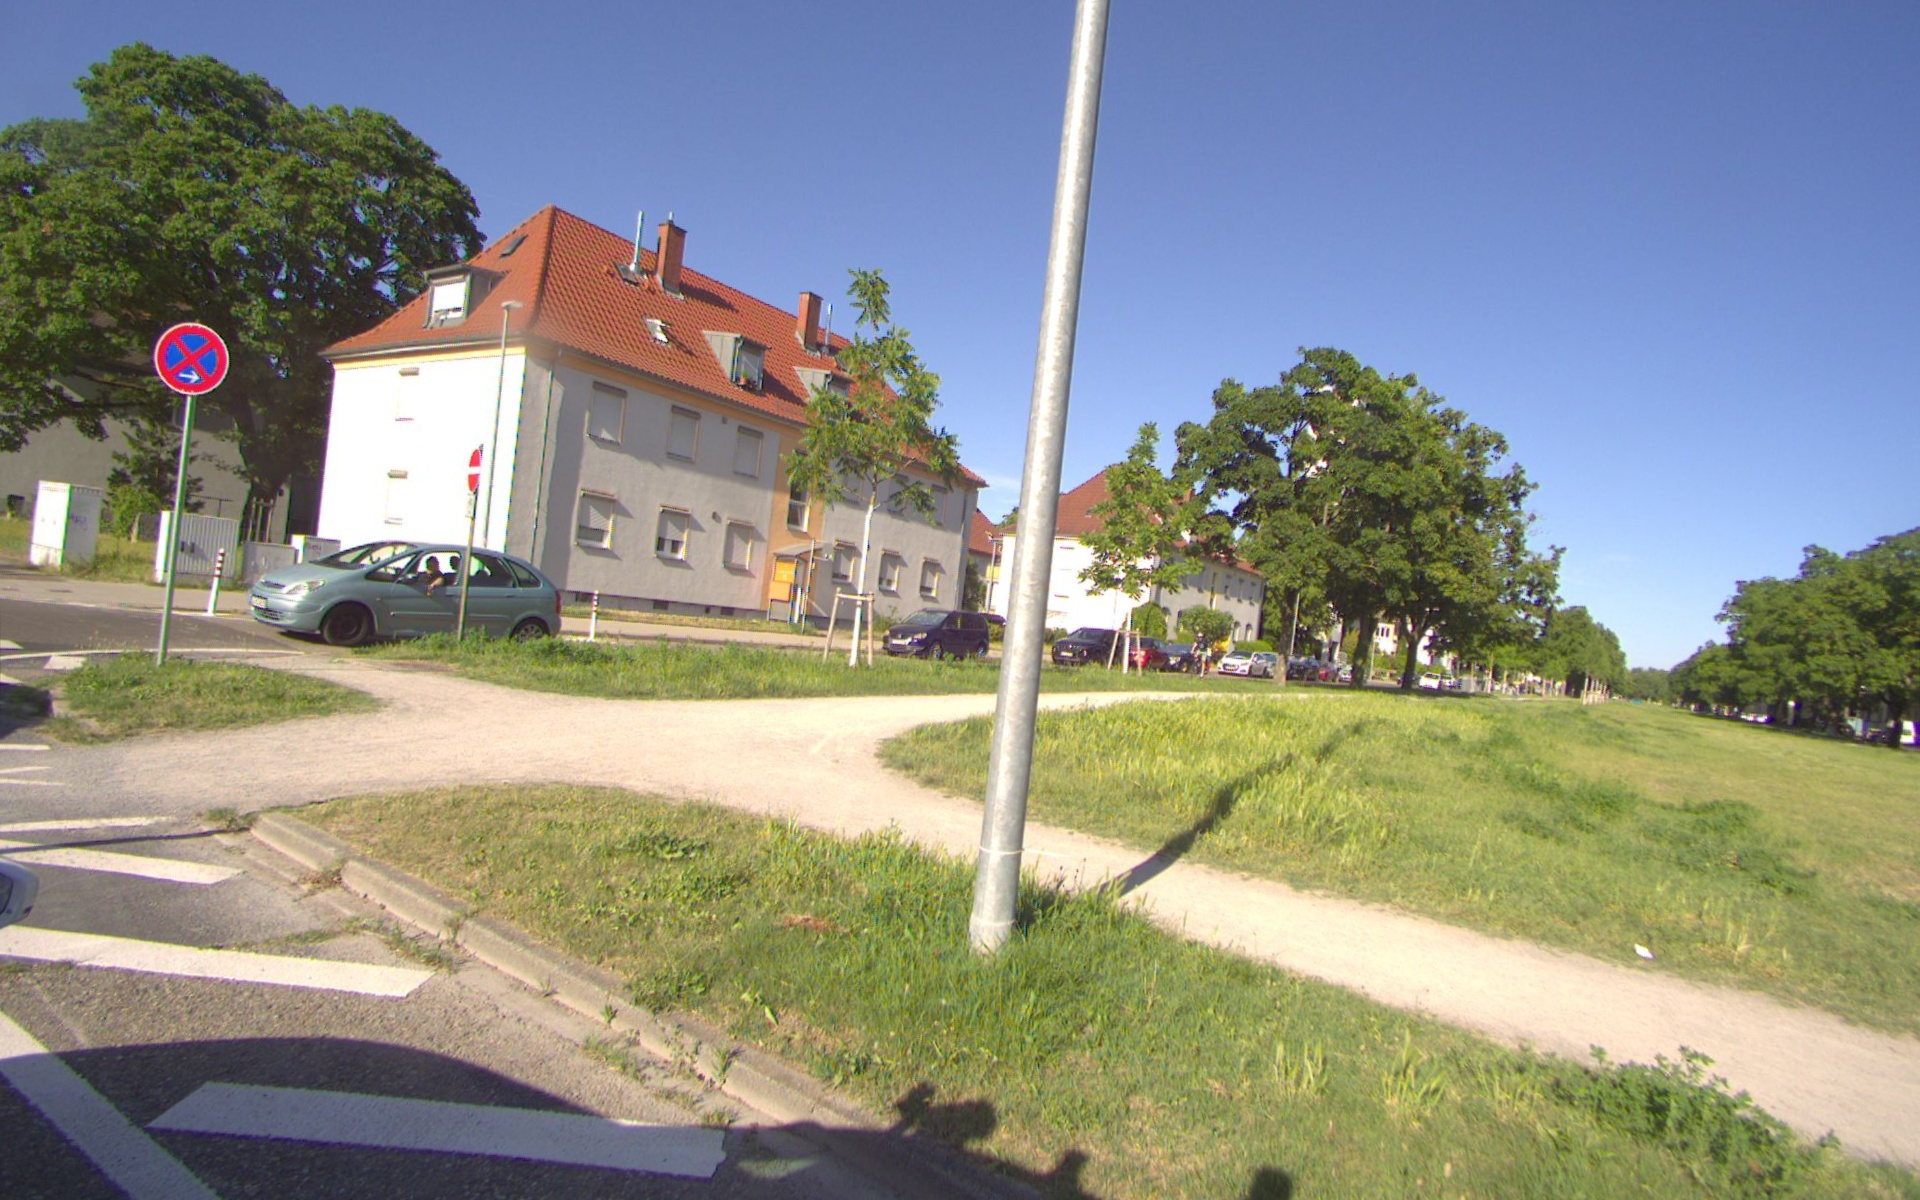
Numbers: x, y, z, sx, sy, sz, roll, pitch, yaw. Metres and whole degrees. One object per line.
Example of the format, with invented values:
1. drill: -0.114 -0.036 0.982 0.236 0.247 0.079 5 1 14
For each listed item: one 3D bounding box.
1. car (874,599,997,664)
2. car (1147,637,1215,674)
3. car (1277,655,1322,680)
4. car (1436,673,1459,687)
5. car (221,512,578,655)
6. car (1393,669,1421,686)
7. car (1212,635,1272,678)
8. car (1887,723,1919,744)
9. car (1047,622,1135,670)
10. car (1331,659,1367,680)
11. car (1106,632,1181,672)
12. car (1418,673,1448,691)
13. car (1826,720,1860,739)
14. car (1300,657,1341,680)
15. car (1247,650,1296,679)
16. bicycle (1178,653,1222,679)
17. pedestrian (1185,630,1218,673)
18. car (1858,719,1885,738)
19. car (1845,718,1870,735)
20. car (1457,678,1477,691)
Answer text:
1. car: -0.709 1.040 31.974 1.694 1.684 4.053 7 0 35
2. car: 10.910 2.762 49.495 1.694 1.459 4.129 7 0 35
3. car: 22.407 4.444 66.367 1.694 1.358 3.798 7 0 35
4. car: 57.036 9.340 117.644 1.694 1.358 3.798 7 0 35
5. car: -8.271 -0.163 15.225 1.859 1.628 4.235 7 0 35
6. car: 43.977 7.618 98.936 1.694 1.358 3.798 7 0 35
7. car: 16.076 3.235 57.196 1.842 2.038 4.244 7 0 35
8. car: 103.592 14.672 110.567 1.837 1.868 3.982 7 0 36
9. car: 5.368 1.910 40.876 1.694 1.602 4.129 7 0 35
10. car: 31.058 5.543 80.321 1.694 1.358 3.798 7 0 35
11. car: 8.392 2.397 45.699 1.694 1.459 4.129 7 0 35
12. car: 43.256 7.485 91.972 1.694 1.358 3.798 7 0 35
13. car: 92.981 13.637 105.961 2.049 1.484 4.713 7 0 36
14. car: 25.590 4.865 71.265 1.694 1.358 3.798 7 0 35
15. car: 19.127 3.967 61.667 1.694 1.517 3.798 7 0 35
16. bicycle: 10.245 2.815 42.858 1.036 0.949 2.759 7 0 30
17. pedestrian: 10.290 2.191 42.797 1.036 1.730 0.692 7 1 30
18. car: 110.337 15.578 121.806 1.837 1.868 3.982 7 0 36
19. car: 119.250 16.750 133.715 1.837 1.868 3.982 7 0 36
20. car: 65.821 10.995 130.646 1.694 1.358 3.798 7 0 35
